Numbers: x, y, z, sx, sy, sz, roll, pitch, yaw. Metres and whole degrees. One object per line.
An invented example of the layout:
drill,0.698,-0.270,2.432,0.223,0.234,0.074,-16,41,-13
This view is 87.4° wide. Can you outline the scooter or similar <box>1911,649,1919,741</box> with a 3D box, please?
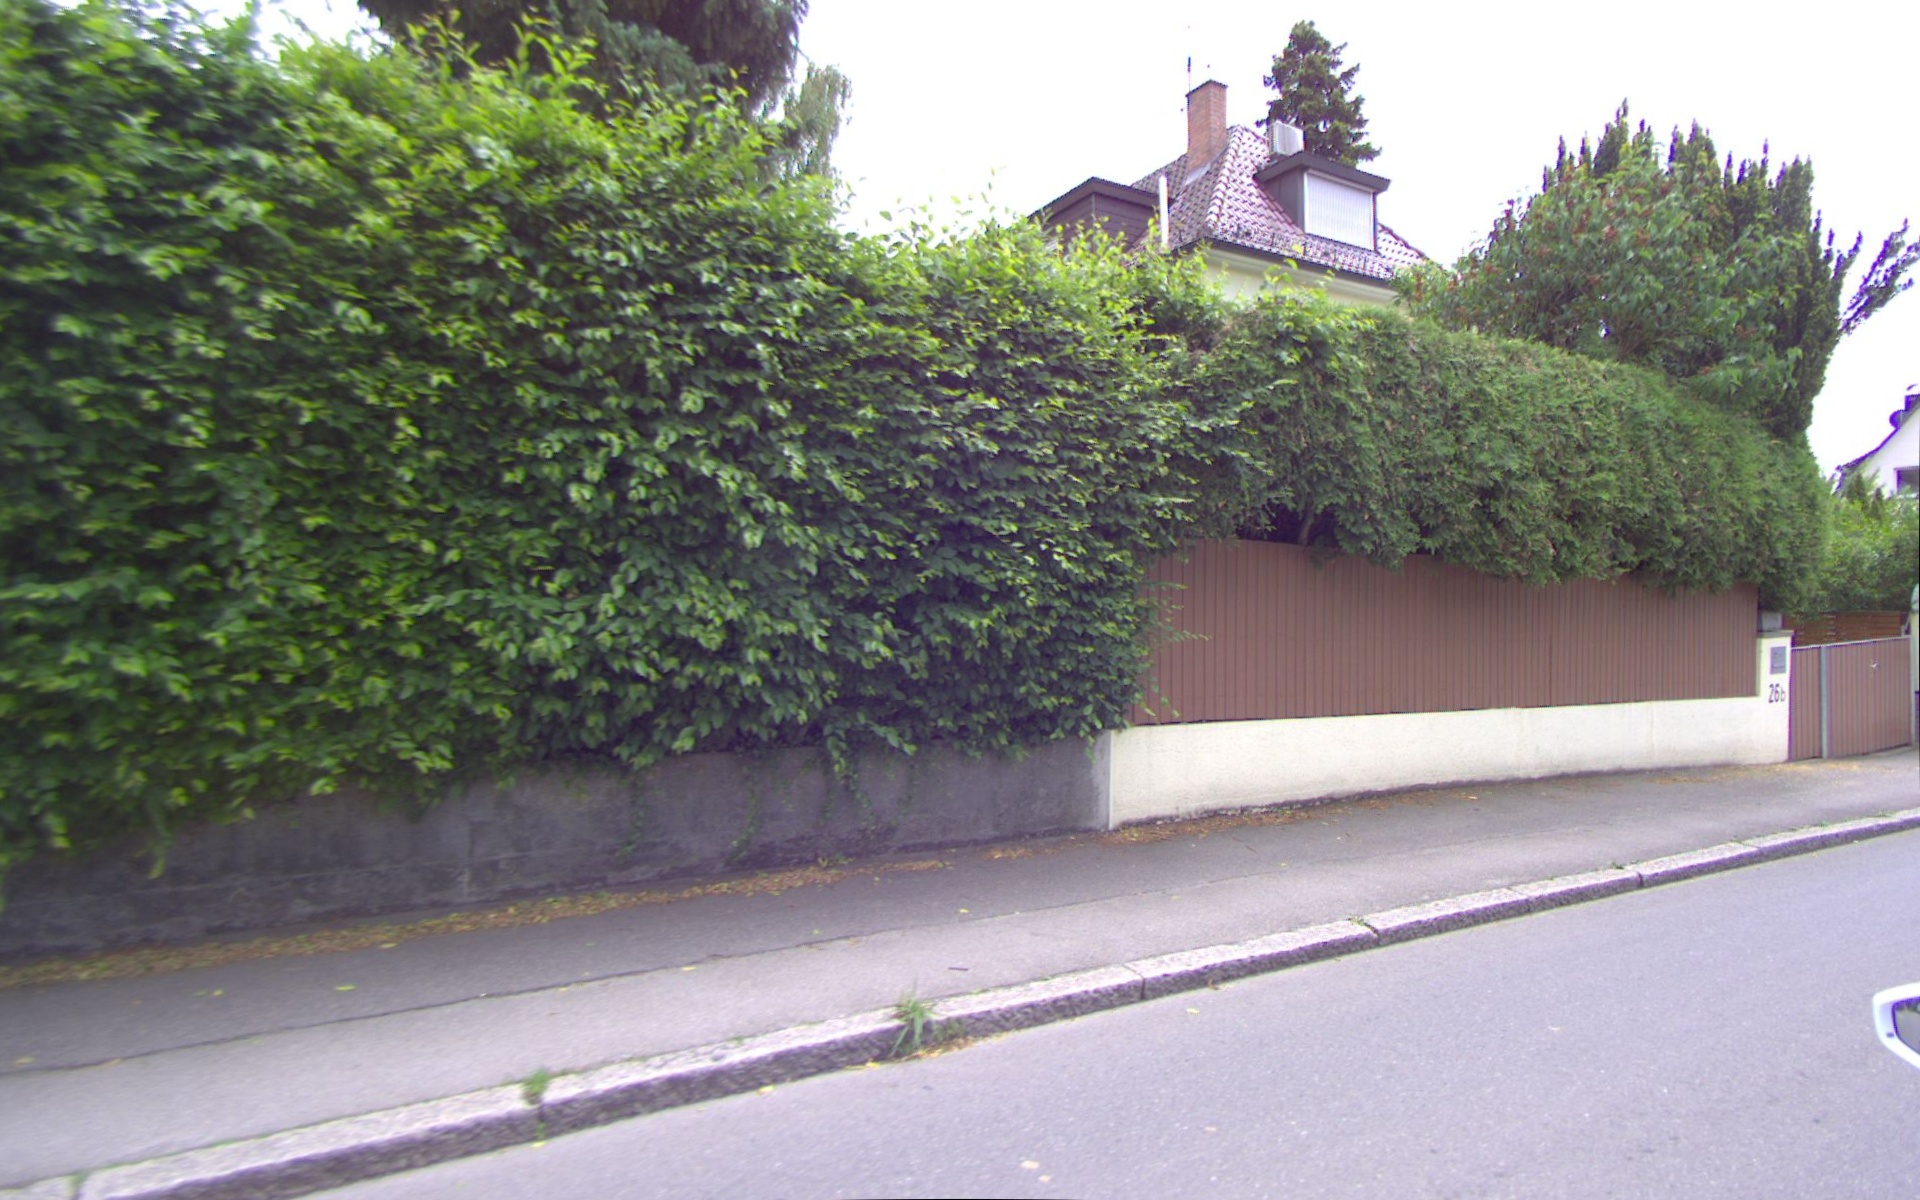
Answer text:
scooter or similar,13.120,1.255,13.339,1.256,1.187,0.389,1,0,-31
